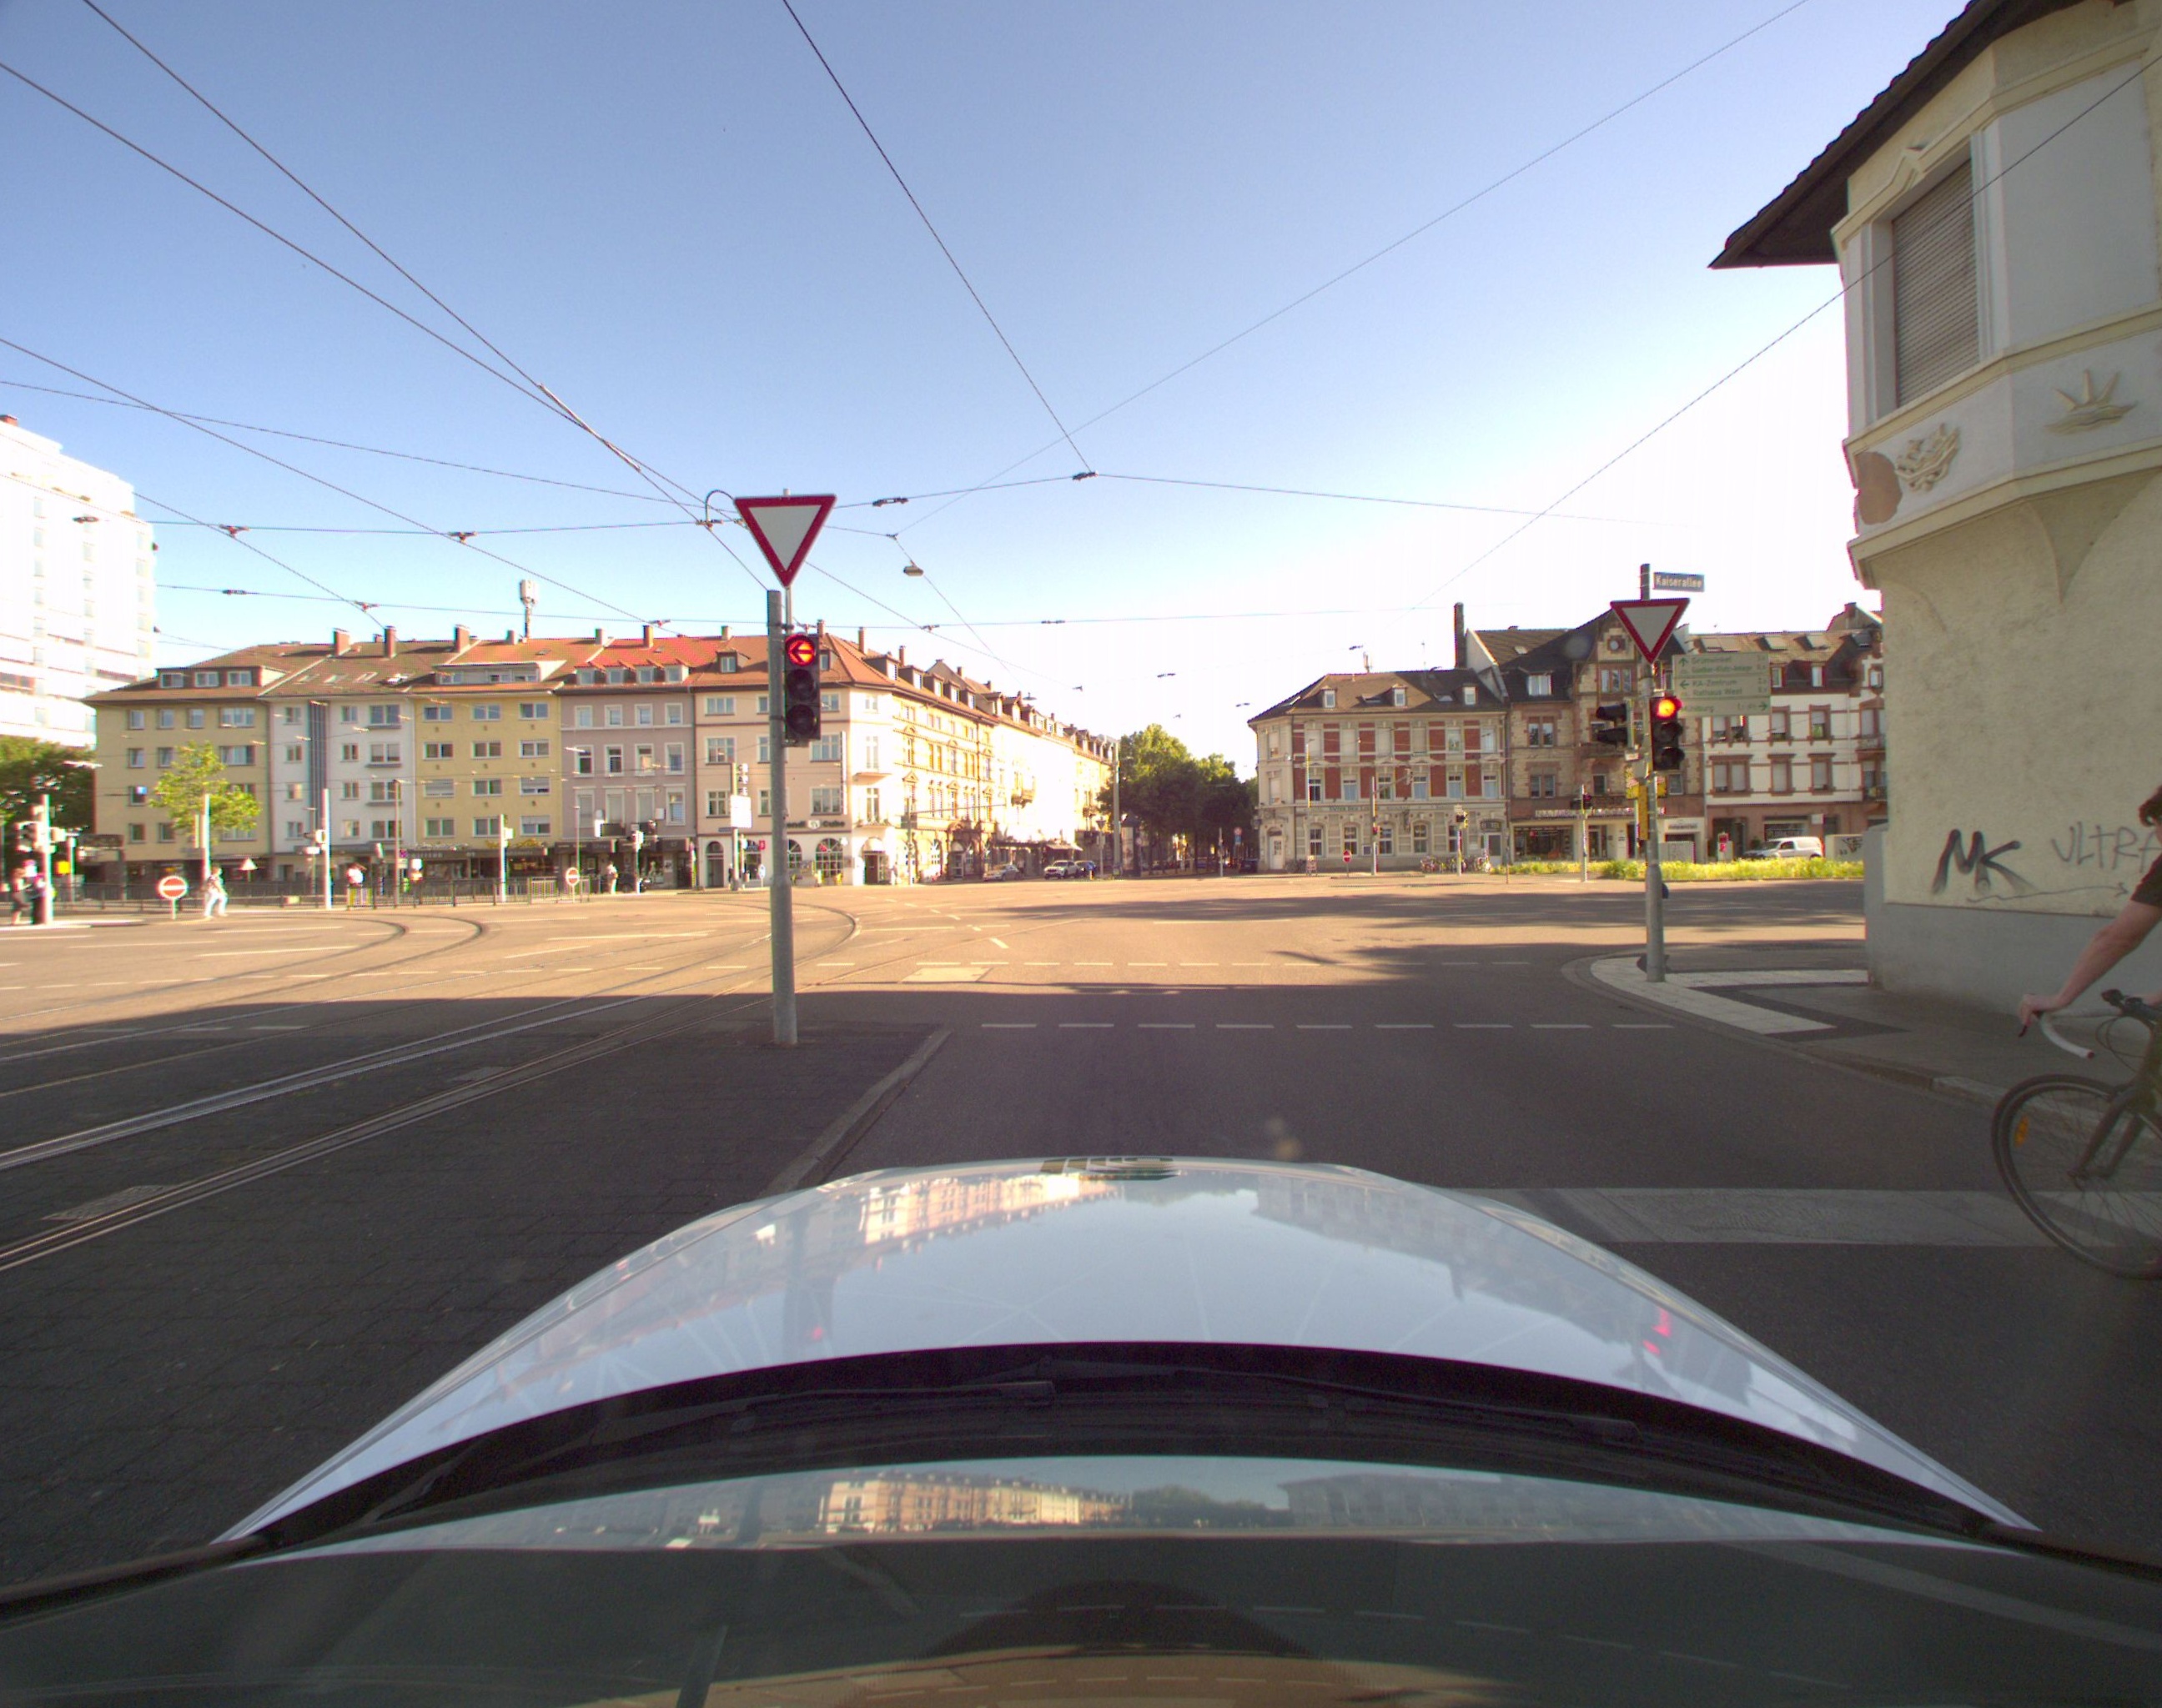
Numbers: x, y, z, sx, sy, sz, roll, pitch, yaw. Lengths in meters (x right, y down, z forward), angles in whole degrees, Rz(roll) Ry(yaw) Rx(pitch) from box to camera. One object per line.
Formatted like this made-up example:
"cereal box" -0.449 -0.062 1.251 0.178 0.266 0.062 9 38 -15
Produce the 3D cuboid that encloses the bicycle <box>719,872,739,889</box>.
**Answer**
"bicycle" -22.891 1.733 53.013 0.570 1.077 1.497 0 -1 2

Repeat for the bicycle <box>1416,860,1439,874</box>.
"bicycle" 22.430 0.831 52.707 0.656 0.840 2.162 0 -1 3

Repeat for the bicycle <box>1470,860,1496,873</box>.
"bicycle" 26.013 0.805 52.727 0.656 0.840 2.162 0 -1 3

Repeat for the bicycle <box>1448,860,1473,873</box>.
"bicycle" 24.572 0.816 52.758 0.656 0.840 2.162 0 -1 3

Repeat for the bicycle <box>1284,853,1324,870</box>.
"bicycle" 15.608 0.505 57.069 2.547 1.174 0.818 0 -1 -1

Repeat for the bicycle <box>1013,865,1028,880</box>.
"bicycle" -4.890 1.487 65.544 0.696 1.118 1.642 -1 -1 16

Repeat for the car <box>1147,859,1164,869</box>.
"car" 11.244 1.499 122.373 1.664 1.354 3.608 -2 0 19

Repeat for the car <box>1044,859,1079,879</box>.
"car" -1.601 1.217 67.520 1.664 1.483 3.789 -2 0 19

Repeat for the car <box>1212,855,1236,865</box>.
"car" 23.357 0.969 133.165 3.549 1.648 1.691 -1 0 19

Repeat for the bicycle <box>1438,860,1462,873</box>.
"bicycle" 23.889 0.821 52.751 0.656 0.840 2.162 0 -1 3

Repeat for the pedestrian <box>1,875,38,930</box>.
"pedestrian" -32.915 1.499 25.248 0.456 1.644 0.643 -1 1 38

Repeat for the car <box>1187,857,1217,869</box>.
"car" 17.206 1.260 115.465 3.870 1.648 1.691 -1 0 19

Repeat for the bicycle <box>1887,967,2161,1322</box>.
"bicycle" 3.606 0.963 2.519 0.516 0.970 1.750 -1 0 2

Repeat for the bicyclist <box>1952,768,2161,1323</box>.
"bicyclist" 3.581 0.582 2.510 0.570 1.701 1.117 -1 0 2

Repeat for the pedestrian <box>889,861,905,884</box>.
"pedestrian" -13.189 1.324 58.442 0.770 1.670 0.834 -1 -1 17

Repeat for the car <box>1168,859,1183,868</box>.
"car" 15.722 1.523 135.612 1.664 1.354 3.608 -2 0 19

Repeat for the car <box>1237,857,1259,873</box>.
"car" 16.907 1.101 82.344 1.664 1.483 3.967 -2 0 19

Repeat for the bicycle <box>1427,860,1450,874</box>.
"bicycle" 23.165 0.826 52.766 0.656 0.840 2.162 0 -1 3

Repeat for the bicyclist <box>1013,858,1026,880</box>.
"bicyclist" -4.937 1.212 65.424 0.772 1.803 1.060 -1 -1 16

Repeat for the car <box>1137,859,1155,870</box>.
"car" 9.175 1.494 115.457 1.664 1.354 3.608 -2 0 19

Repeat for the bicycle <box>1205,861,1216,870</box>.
"bicycle" 15.772 1.395 99.290 0.636 1.021 1.839 0 -1 -12

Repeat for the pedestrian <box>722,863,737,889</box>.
"pedestrian" -22.890 1.438 53.044 0.580 1.670 0.753 0 -1 2

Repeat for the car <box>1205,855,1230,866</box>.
"car" 21.451 1.062 127.731 3.549 1.648 1.691 -1 0 19

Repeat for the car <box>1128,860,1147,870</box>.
"car" 7.701 1.492 111.333 1.664 1.354 3.608 -2 0 19

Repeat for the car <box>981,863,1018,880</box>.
"car" -6.705 1.427 67.235 1.664 1.354 3.608 -2 0 19

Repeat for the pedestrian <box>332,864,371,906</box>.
"pedestrian" -27.961 1.169 31.211 0.720 1.577 0.836 -1 -1 11

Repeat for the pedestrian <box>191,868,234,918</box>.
"pedestrian" -28.195 1.252 26.457 0.545 1.577 0.838 -1 -1 29

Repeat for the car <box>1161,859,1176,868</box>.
"car" 14.035 1.505 130.619 1.664 1.354 3.608 -2 0 19

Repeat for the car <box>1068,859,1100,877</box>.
"car" 0.311 1.244 73.779 1.664 1.483 3.967 -2 0 19

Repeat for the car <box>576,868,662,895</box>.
"car" -30.361 1.789 53.646 4.347 1.711 2.308 0 -1 4

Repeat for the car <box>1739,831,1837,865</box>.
"car" 45.447 -0.373 52.413 4.406 2.013 2.002 -1 0 4

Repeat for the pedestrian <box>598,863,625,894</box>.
"pedestrian" -24.528 1.287 42.557 0.842 1.577 0.836 -1 -1 11

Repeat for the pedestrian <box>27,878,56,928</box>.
"pedestrian" -31.909 1.499 25.000 0.456 1.505 0.485 -1 1 38

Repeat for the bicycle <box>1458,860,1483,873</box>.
"bicycle" 25.209 0.811 52.713 0.656 0.840 2.162 0 -1 3
